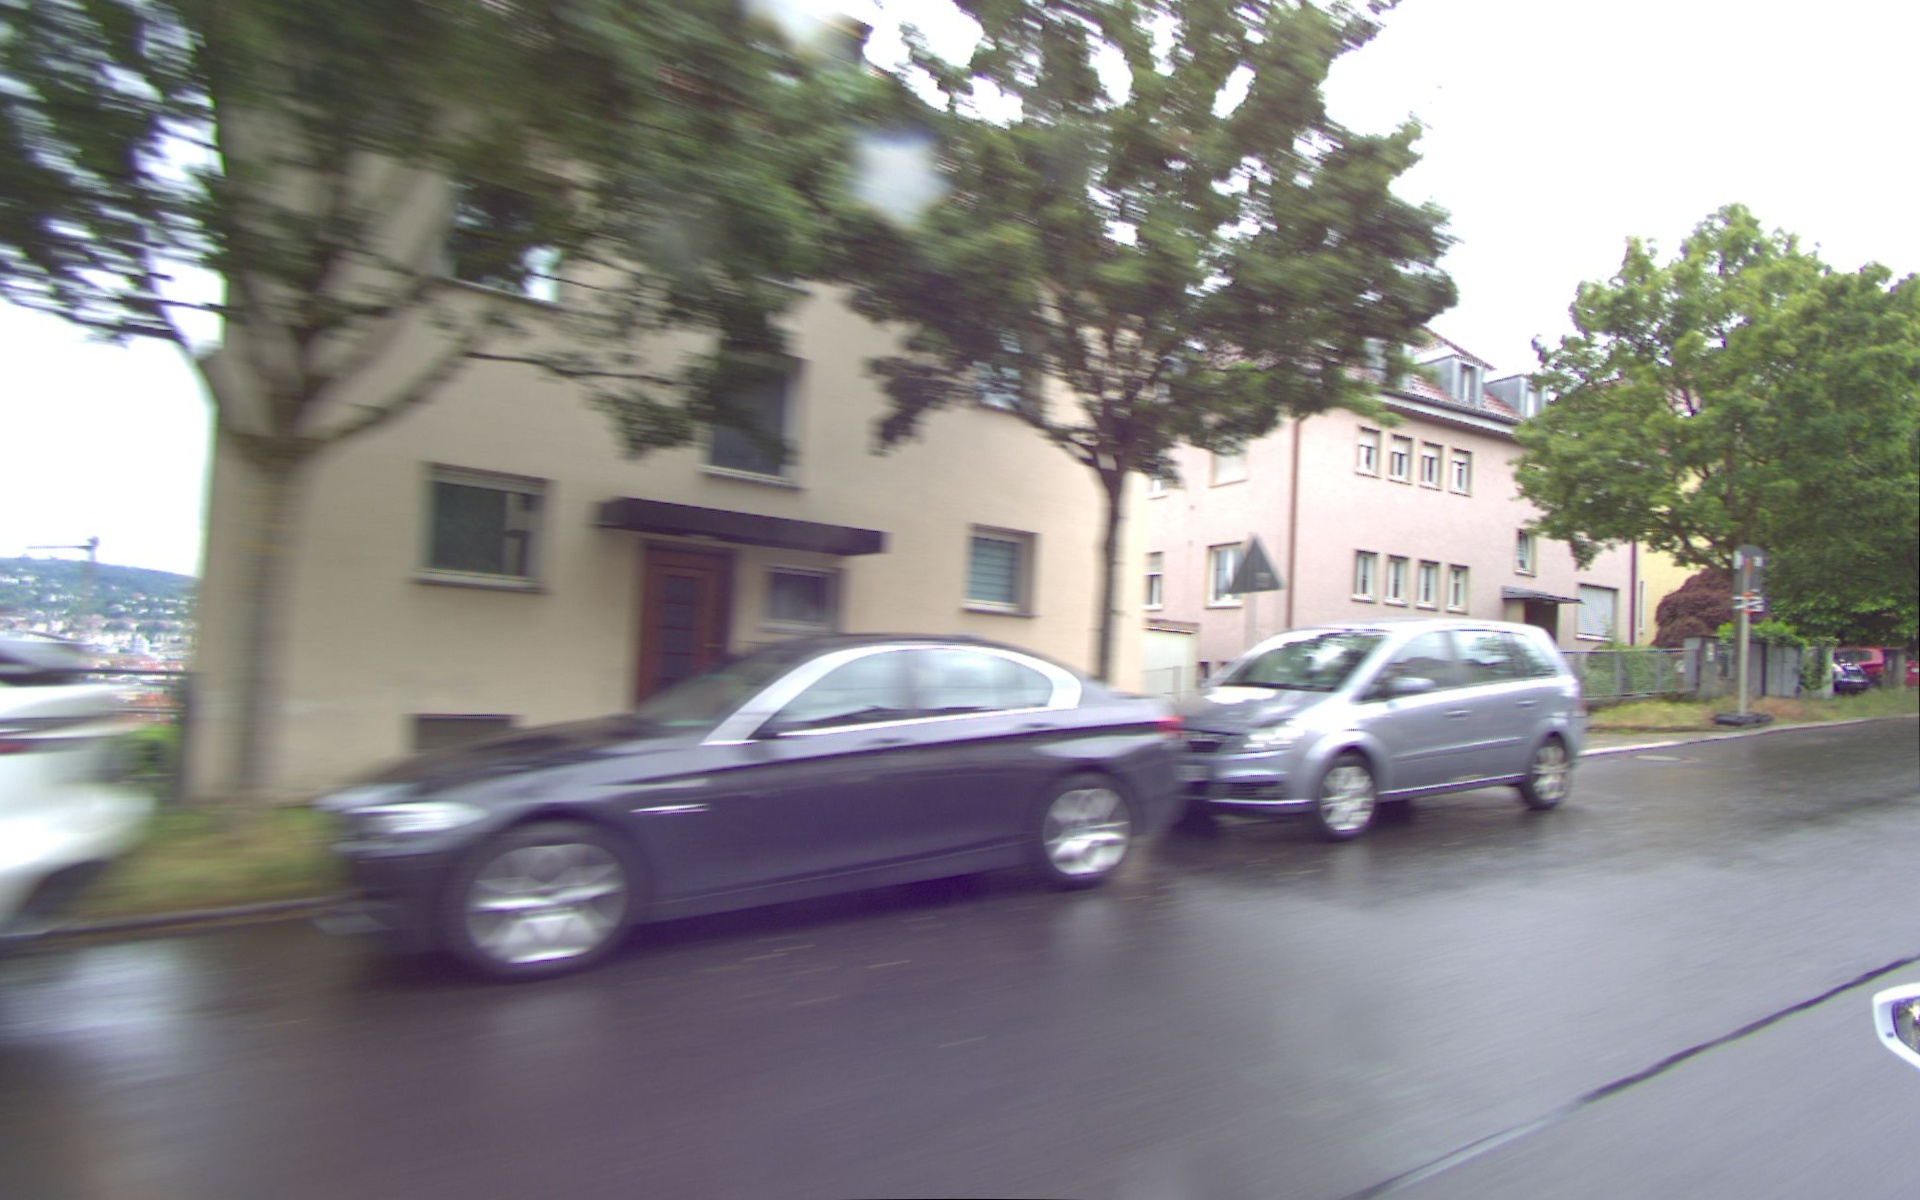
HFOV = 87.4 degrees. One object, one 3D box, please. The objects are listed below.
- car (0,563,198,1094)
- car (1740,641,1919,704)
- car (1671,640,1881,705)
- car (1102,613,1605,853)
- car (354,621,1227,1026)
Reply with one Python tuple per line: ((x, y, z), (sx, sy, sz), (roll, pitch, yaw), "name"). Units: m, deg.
((-5.117, 0.712, 2.869), (4.457, 1.635, 1.799), (1, -3, -31), "car")
((24.732, 2.102, 28.295), (1.753, 1.411, 3.915), (2, -9, -22), "car")
((21.804, 2.008, 27.040), (1.801, 1.377, 3.915), (2, -9, -22), "car")
((3.384, 0.976, 8.421), (4.246, 1.565, 1.709), (2, -4, -32), "car")
((-0.766, 0.948, 5.854), (4.687, 1.529, 1.812), (2, -3, -32), "car")
